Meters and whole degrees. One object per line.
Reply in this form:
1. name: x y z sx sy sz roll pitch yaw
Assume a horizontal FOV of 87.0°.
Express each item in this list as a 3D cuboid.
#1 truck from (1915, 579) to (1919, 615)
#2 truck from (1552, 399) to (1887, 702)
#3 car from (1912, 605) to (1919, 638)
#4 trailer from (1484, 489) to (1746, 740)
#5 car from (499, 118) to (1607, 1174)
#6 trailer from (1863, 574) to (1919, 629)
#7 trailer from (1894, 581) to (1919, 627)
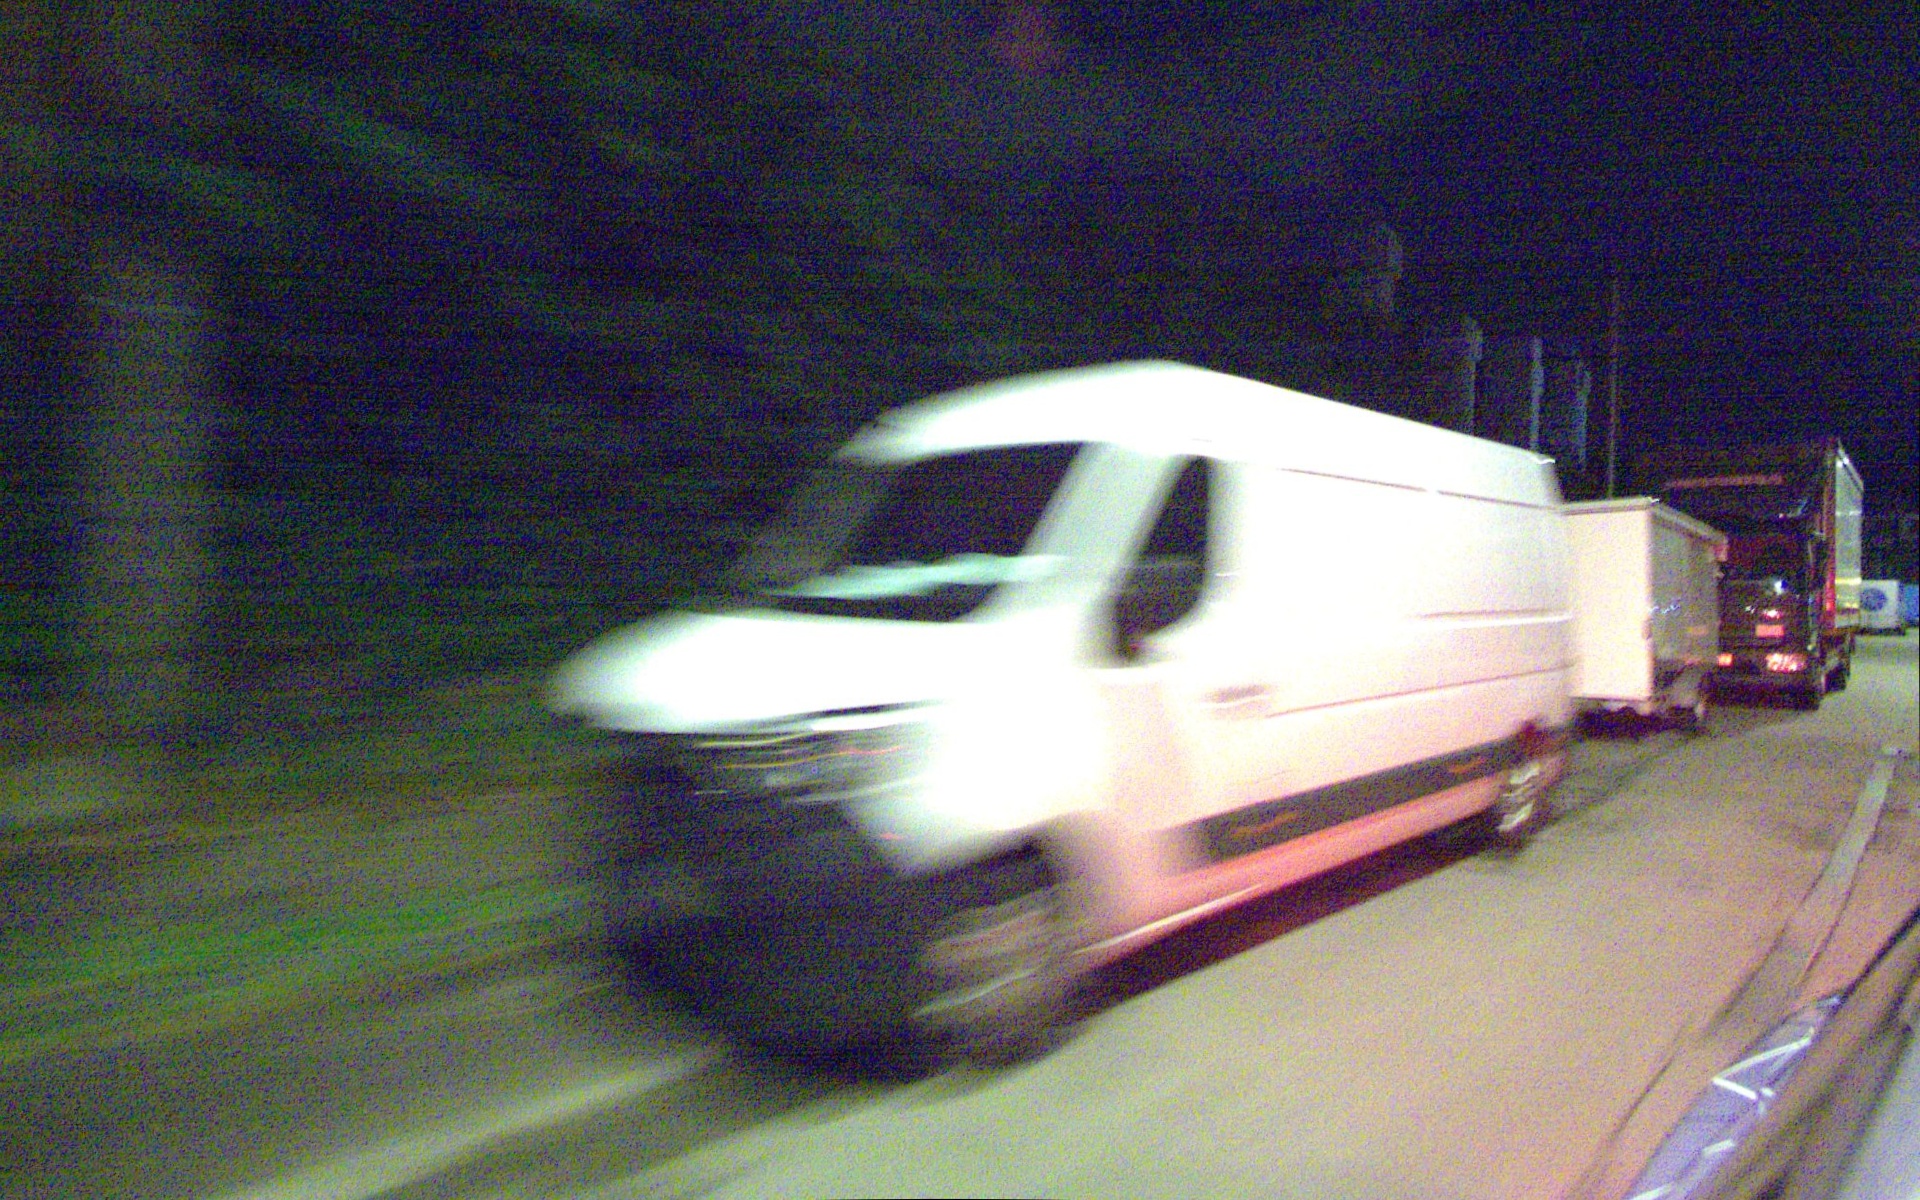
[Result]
1. truck: 108.202 -0.168 111.862 12.432 3.885 2.515 2 0 -40
2. truck: 13.500 -0.664 17.532 3.326 3.916 9.176 2 1 45
3. car: 76.639 1.737 79.875 6.536 2.580 1.942 2 0 -45
4. trailer: 8.174 0.162 12.393 4.945 2.505 1.633 2 0 -45
5. car: 1.215 0.138 5.347 6.262 2.548 2.112 2 0 -42
6. trailer: 47.434 0.098 51.323 3.931 2.684 1.997 2 0 -42
7. trailer: 71.821 0.313 75.920 2.397 3.367 4.295 2 0 42
